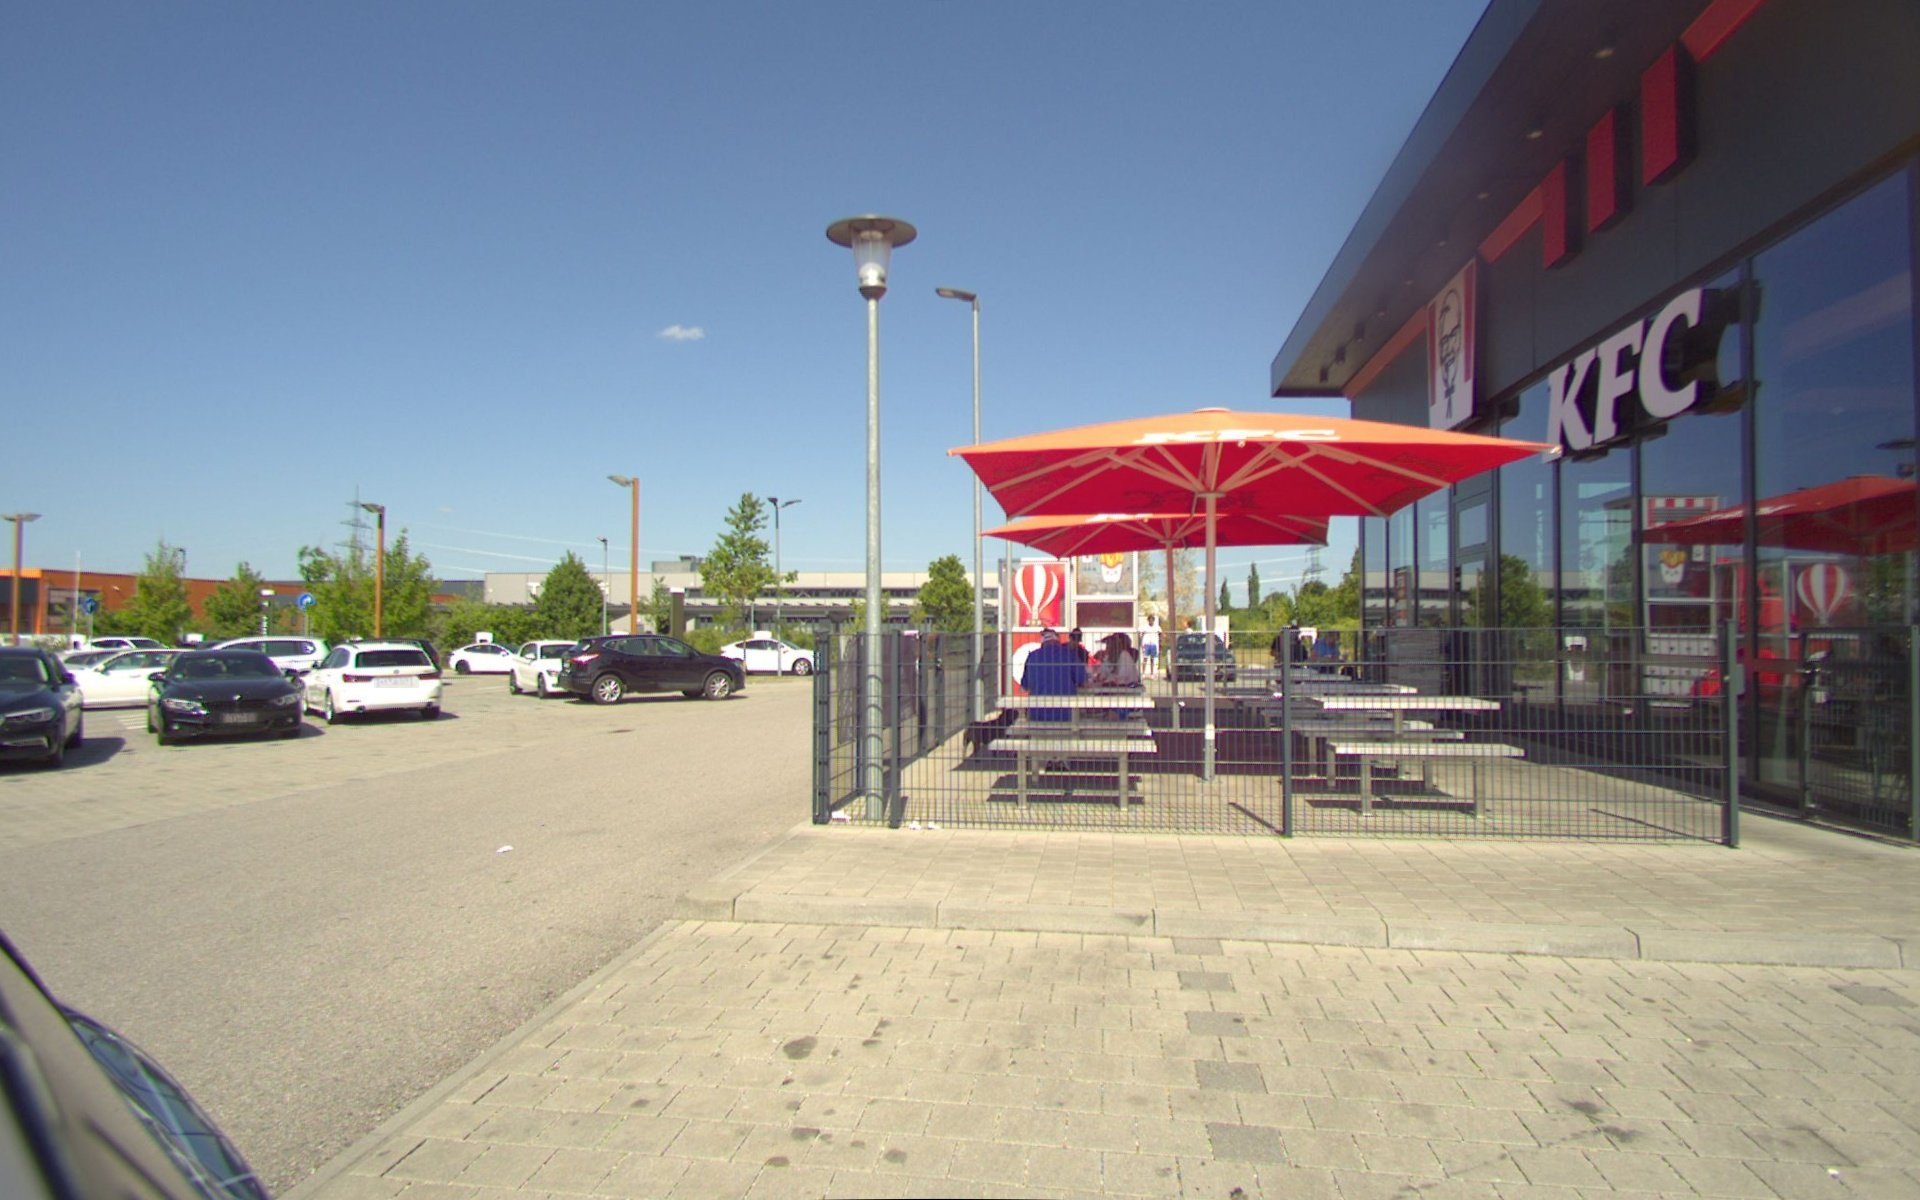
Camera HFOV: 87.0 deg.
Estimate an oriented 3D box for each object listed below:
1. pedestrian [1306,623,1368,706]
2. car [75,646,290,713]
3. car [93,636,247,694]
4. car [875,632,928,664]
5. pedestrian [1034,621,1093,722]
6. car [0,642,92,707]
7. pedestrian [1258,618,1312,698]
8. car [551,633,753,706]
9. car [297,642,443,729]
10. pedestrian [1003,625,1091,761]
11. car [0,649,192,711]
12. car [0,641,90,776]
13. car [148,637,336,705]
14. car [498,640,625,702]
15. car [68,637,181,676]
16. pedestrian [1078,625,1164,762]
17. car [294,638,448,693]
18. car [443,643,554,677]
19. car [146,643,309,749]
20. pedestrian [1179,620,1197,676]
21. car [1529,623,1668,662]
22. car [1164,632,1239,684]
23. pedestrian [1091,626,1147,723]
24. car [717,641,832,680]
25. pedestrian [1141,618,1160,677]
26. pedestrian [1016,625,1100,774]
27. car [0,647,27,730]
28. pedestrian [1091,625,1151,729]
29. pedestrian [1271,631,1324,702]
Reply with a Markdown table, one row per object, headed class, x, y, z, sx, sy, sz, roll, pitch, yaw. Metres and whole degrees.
| class | x | y | z | sx | sy | sz | roll | pitch | yaw |
| --- | --- | --- | --- | --- | --- | --- | --- | --- | --- |
| pedestrian | 6.193 | 1.050 | 16.654 | 0.747 | 1.322 | 0.942 | -1 | -2 | 10 |
| car | -18.891 | 1.880 | 24.819 | 4.046 | 1.424 | 1.818 | 1 | -2 | -36 |
| car | -26.535 | 2.150 | 34.143 | 3.890 | 1.788 | 1.658 | 0 | -3 | -31 |
| car | -3.317 | 2.744 | 58.258 | 1.900 | 1.763 | 4.237 | -2 | -2 | 14 |
| pedestrian | 1.482 | 1.004 | 14.428 | 0.660 | 1.398 | 0.803 | -2 | -2 | 17 |
| car | -24.132 | 1.818 | 24.478 | 4.568 | 1.498 | 1.900 | 1 | -2 | -36 |
| pedestrian | 6.013 | 1.068 | 18.741 | 0.789 | 1.454 | 0.692 | -1 | -2 | 7 |
| car | -7.282 | 1.594 | 24.047 | 4.231 | 1.603 | 1.862 | 1 | -3 | -35 |
| car | -11.567 | 1.581 | 19.692 | 1.807 | 1.471 | 4.593 | 1 | -3 | -39 |
| pedestrian | 0.844 | 0.898 | 10.067 | 0.675 | 1.283 | 0.843 | -1 | -2 | -8 |
| car | -24.114 | 2.154 | 27.923 | 4.568 | 1.498 | 1.900 | 1 | -2 | -36 |
| car | -12.536 | 1.308 | 12.948 | 1.944 | 1.498 | 4.792 | 1 | -3 | -39 |
| car | -19.453 | 1.872 | 27.593 | 4.046 | 1.687 | 1.818 | 1 | -2 | -36 |
| car | -10.526 | 1.819 | 26.572 | 1.944 | 1.471 | 4.215 | 1 | -3 | -39 |
| car | -35.714 | 2.398 | 43.276 | 3.844 | 1.573 | 1.757 | -2 | -2 | 13 |
| pedestrian | 1.566 | 0.895 | 9.922 | 0.675 | 1.283 | 0.552 | -1 | -2 | -7 |
| car | -18.379 | 2.009 | 31.657 | 3.936 | 1.564 | 1.758 | 1 | -3 | -39 |
| car | -20.798 | 2.693 | 45.706 | 4.285 | 1.490 | 1.837 | -1 | -2 | 10 |
| car | -12.053 | 1.469 | 16.531 | 1.808 | 1.471 | 4.377 | 1 | -3 | -41 |
| pedestrian | 7.382 | 1.564 | 32.731 | 0.520 | 1.787 | 0.535 | -2 | -2 | 14 |
| car | 26.864 | 1.773 | 42.769 | 4.382 | 1.538 | 2.212 | -1 | -1 | 9 |
| car | 7.093 | 1.675 | 30.101 | 1.709 | 1.422 | 4.304 | -1 | -2 | 8 |
| pedestrian | 2.238 | 1.032 | 14.216 | 0.660 | 1.314 | 0.683 | -2 | -2 | 17 |
| car | -7.911 | 2.585 | 43.361 | 4.519 | 1.605 | 1.839 | -1 | -2 | 6 |
| pedestrian | 5.890 | 1.468 | 31.252 | 0.520 | 1.787 | 0.535 | -2 | -2 | 14 |
| pedestrian | 0.872 | 0.875 | 9.131 | 0.604 | 1.283 | 0.625 | -1 | -2 | -7 |
| car | -19.544 | 1.626 | 17.932 | 4.209 | 1.498 | 1.818 | 1 | -2 | -36 |
| pedestrian | 2.136 | 1.001 | 13.360 | 0.660 | 1.314 | 0.708 | -2 | -2 | 17 |
| pedestrian | 5.932 | 1.161 | 17.839 | 0.746 | 1.209 | 0.692 | -1 | -2 | 10 |
